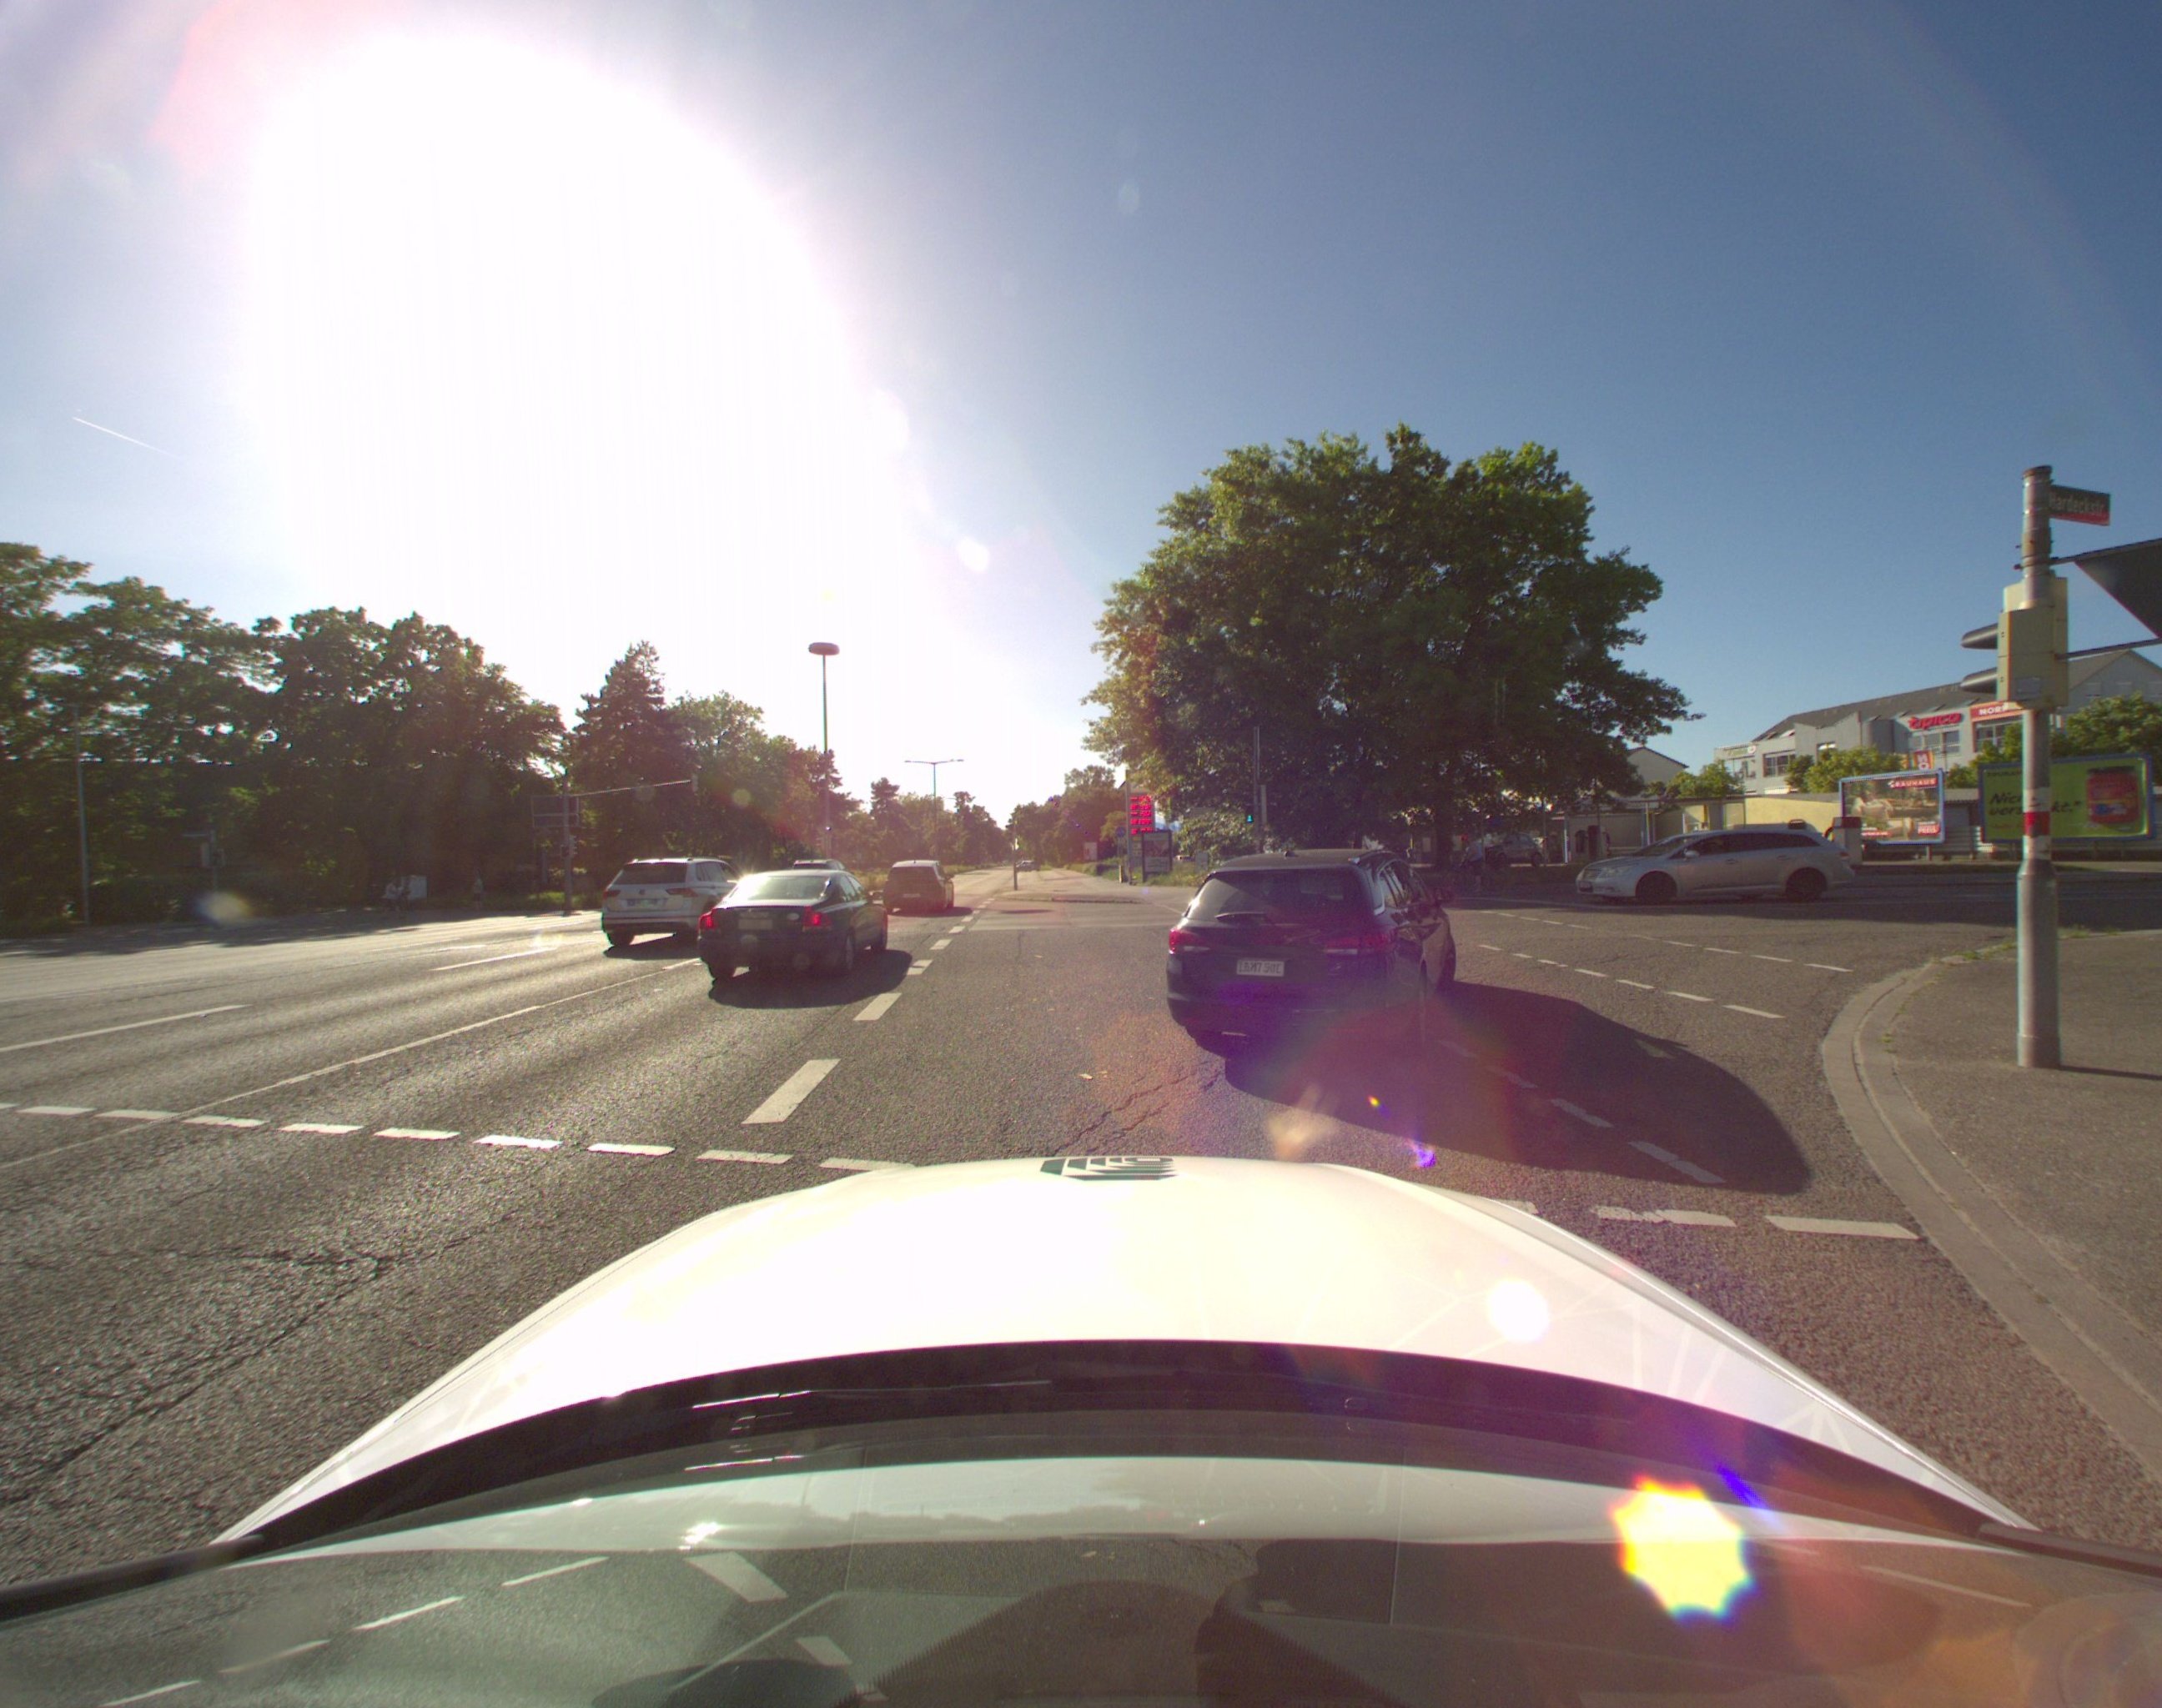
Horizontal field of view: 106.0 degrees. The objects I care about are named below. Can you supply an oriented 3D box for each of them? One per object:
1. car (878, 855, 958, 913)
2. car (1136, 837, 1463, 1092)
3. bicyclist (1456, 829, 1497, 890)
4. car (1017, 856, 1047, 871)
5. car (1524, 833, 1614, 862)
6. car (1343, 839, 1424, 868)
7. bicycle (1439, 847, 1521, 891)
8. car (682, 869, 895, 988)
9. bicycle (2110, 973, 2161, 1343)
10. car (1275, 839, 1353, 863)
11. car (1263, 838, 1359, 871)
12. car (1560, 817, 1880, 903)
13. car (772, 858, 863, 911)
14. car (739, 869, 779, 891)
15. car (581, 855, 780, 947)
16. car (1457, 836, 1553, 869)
[{"bbox_3d":[-4.918,0.869,25.167,1.833,1.588,4.358,-1,-1,-4],"label":"car"},{"bbox_3d":[2.207,0.630,7.124,1.745,1.491,4.317,-1,1,29],"label":"car"},{"bbox_3d":[11.078,0.156,22.819,0.824,1.641,0.543,-2,-1,2],"label":"bicyclist"},{"bbox_3d":[-6.604,1.297,109.954,2.011,2.014,3.951,1,-1,-44],"label":"car"},{"bbox_3d":[27.751,-0.347,46.382,3.981,1.607,1.996,0,-1,-5],"label":"car"},{"bbox_3d":[16.460,-0.024,44.378,3.992,1.512,1.525,0,-1,-14],"label":"car"},{"bbox_3d":[11.156,0.406,22.801,2.011,1.141,0.529,-2,-1,2],"label":"bicycle"},{"bbox_3d":[-4.002,0.928,11.957,1.833,1.395,4.357,0,-1,-5],"label":"car"},{"bbox_3d":[3.667,0.789,1.653,1.847,1.077,0.534,-5,-4,23],"label":"bicycle"},{"bbox_3d":[13.429,-0.153,47.009,3.994,1.335,1.790,0,-1,-15],"label":"car"},{"bbox_3d":[14.727,0.058,52.328,5.625,2.099,1.997,0,-1,-5],"label":"car"},{"bbox_3d":[12.829,0.139,16.670,4.846,1.489,1.847,-2,-1,8],"label":"car"},{"bbox_3d":[-8.883,0.979,27.813,1.906,1.653,4.358,0,-1,-4],"label":"car"},{"bbox_3d":[-23.206,1.843,58.820,1.544,1.432,3.594,-2,-1,-3],"label":"car"},{"bbox_3d":[-7.994,0.867,16.807,1.937,1.653,4.363,0,-1,-1],"label":"car"},{"bbox_3d":[18.492,-0.041,35.500,4.009,1.376,1.744,1,-1,-28],"label":"car"}]
